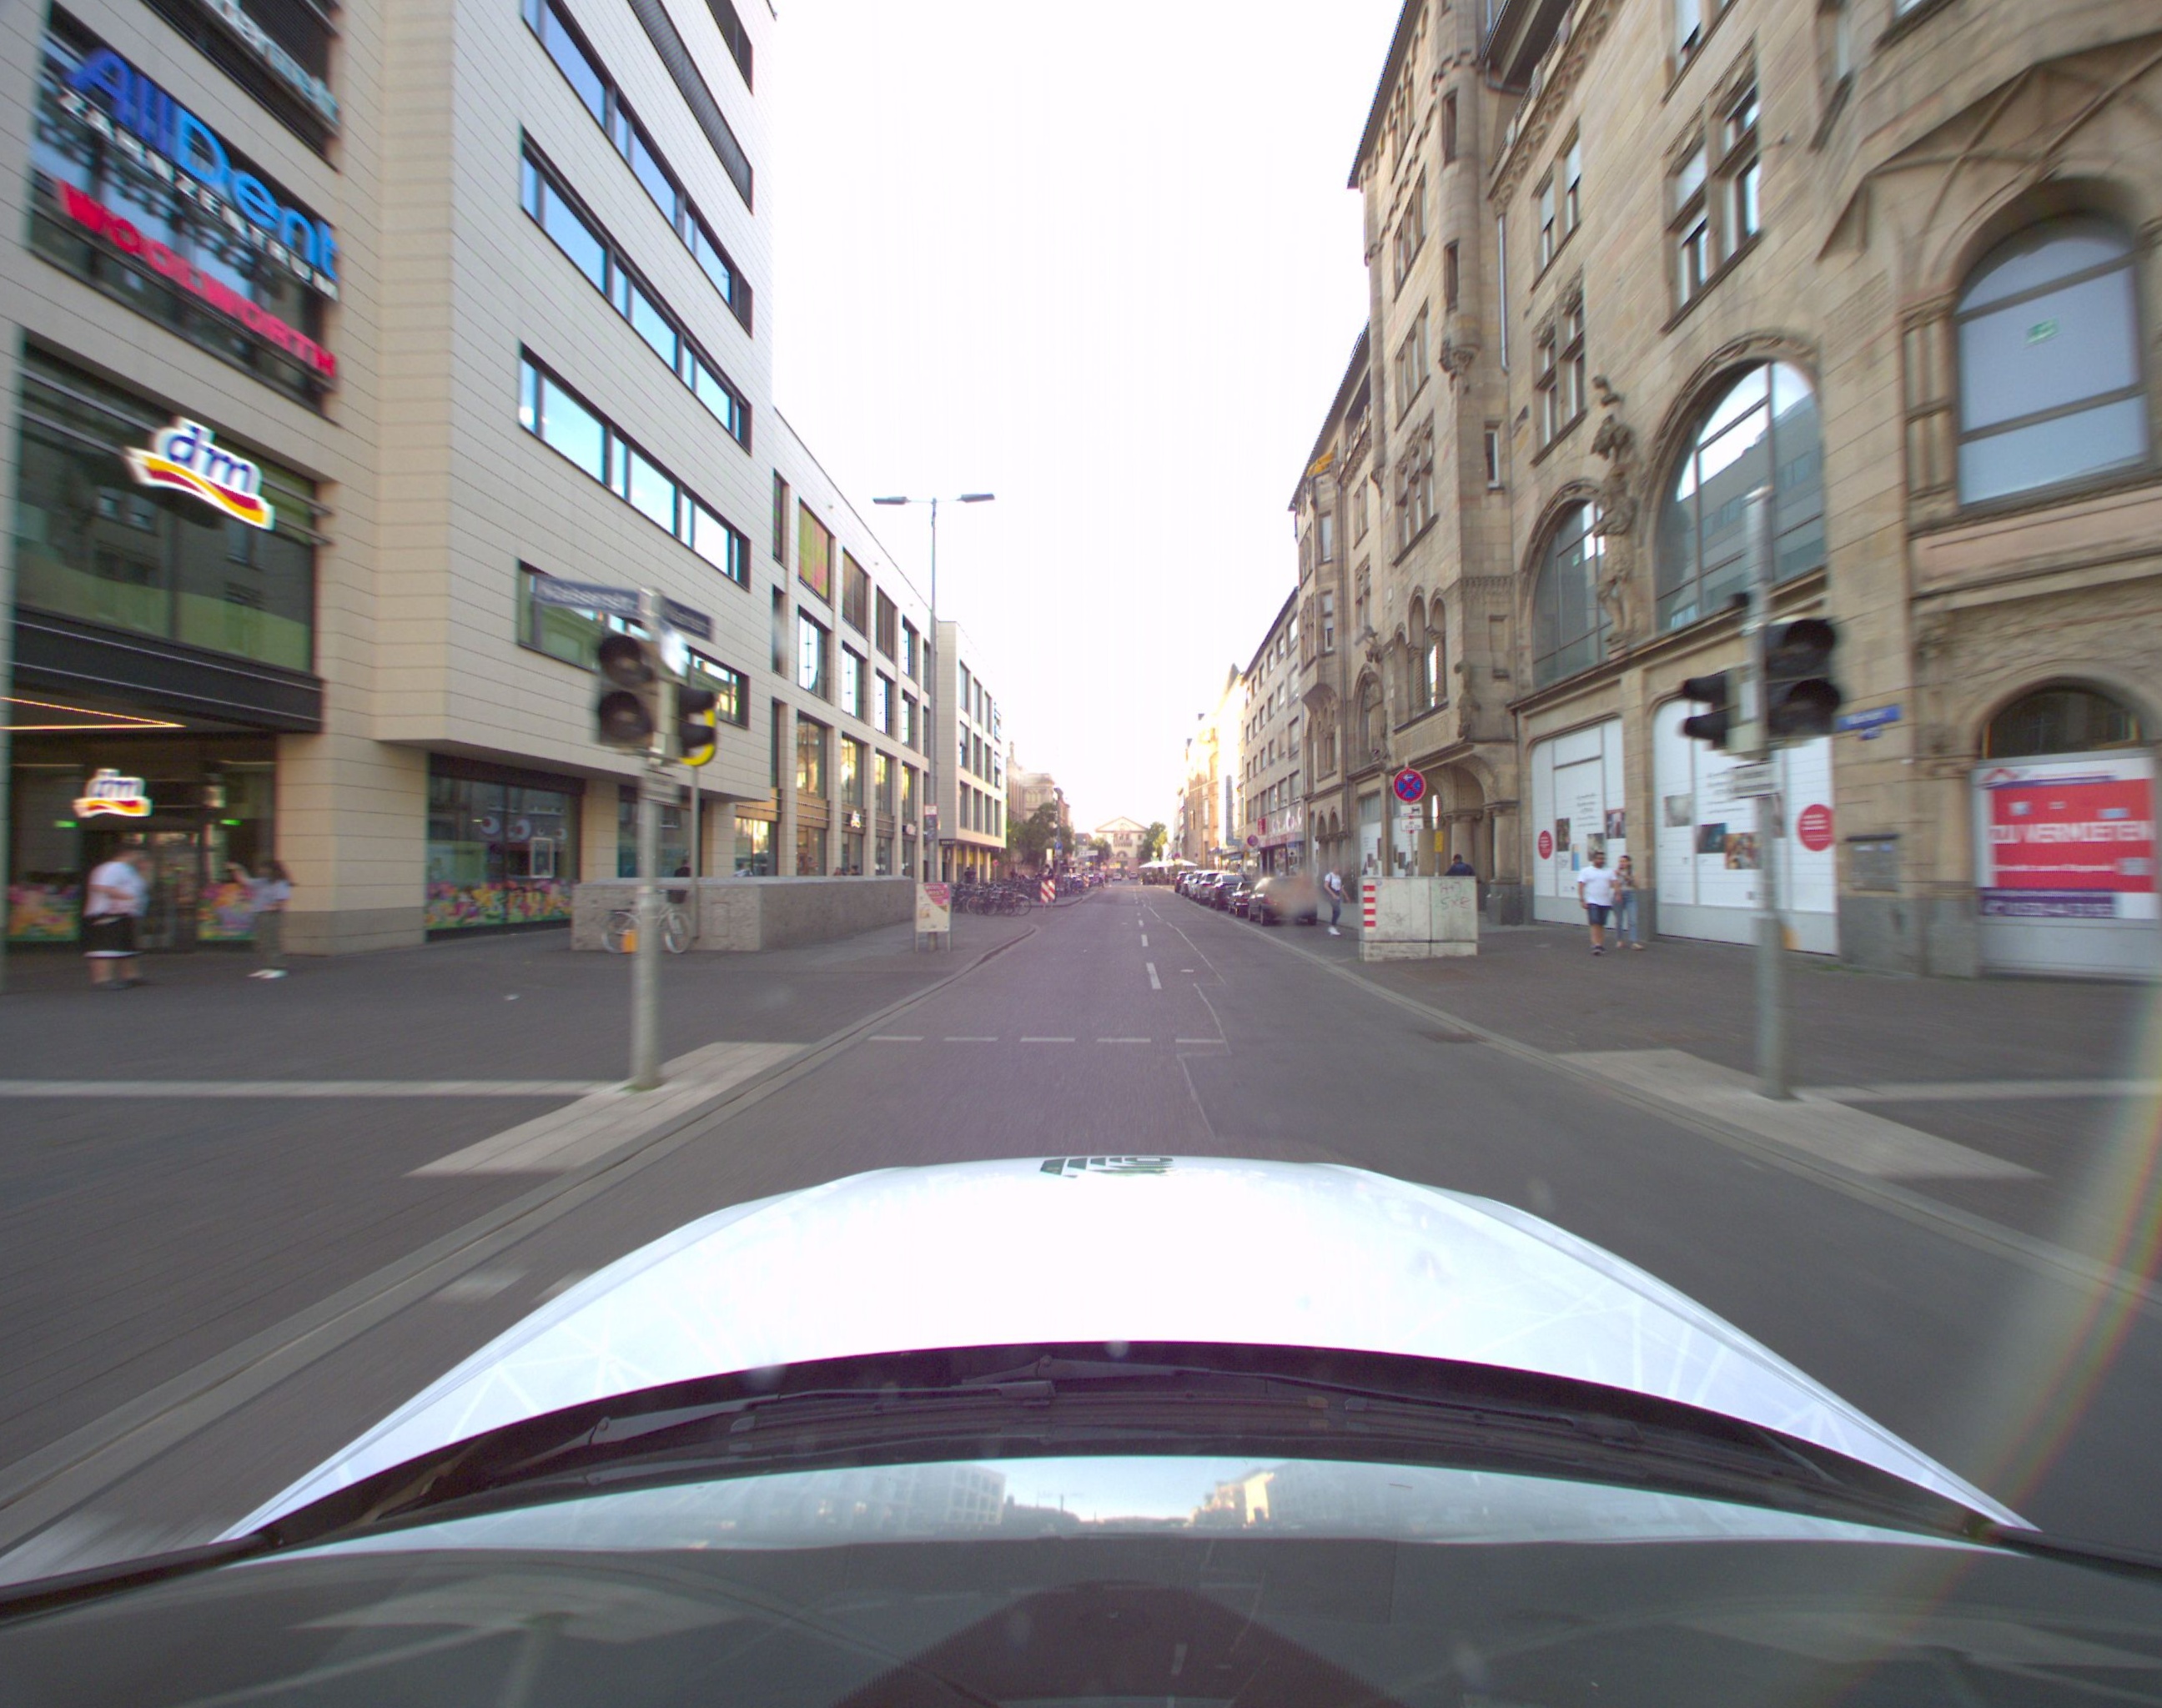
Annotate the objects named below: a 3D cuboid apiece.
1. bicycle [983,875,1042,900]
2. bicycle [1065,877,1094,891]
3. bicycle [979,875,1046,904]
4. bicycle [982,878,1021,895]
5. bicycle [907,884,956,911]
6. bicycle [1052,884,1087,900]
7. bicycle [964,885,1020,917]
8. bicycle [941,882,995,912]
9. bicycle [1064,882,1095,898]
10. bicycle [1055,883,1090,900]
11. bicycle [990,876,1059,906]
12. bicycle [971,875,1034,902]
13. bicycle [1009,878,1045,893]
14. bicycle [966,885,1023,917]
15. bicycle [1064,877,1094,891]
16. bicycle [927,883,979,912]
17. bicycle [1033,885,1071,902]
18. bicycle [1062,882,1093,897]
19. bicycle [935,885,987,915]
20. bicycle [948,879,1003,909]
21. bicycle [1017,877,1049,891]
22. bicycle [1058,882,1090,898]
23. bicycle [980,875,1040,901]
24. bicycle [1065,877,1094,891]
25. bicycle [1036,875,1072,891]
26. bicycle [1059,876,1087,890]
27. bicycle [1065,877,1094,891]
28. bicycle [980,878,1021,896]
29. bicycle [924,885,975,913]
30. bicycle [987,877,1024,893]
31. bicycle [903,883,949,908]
[{"bbox_3d":[-3.473,1.686,41.354,2.899,1.255,0.798,0,-1,-23],"label":"bicycle"},{"bbox_3d":[-0.104,2.216,59.982,2.138,1.029,0.641,0,-1,5],"label":"bicycle"},{"bbox_3d":[-3.075,1.595,36.692,2.899,1.255,0.798,0,-1,-23],"label":"bicycle"},{"bbox_3d":[-4.525,1.846,46.621,2.138,0.953,0.641,0,-1,5],"label":"bicycle"},{"bbox_3d":[-6.402,1.877,34.984,1.977,1.122,0.553,2,-2,-26],"label":"bicycle"},{"bbox_3d":[-0.712,2.361,50.747,2.138,0.953,0.641,0,-1,5],"label":"bicycle"},{"bbox_3d":[-3.270,1.730,30.080,1.977,1.122,0.553,2,-2,-26],"label":"bicycle"},{"bbox_3d":[-4.384,1.661,31.660,1.977,1.122,0.553,2,-2,-26],"label":"bicycle"},{"bbox_3d":[-0.104,2.499,56.661,2.138,1.029,0.641,0,-1,5],"label":"bicycle"},{"bbox_3d":[-0.554,2.384,51.675,2.138,1.029,0.641,0,-1,5],"label":"bicycle"},{"bbox_3d":[-2.448,1.584,35.576,2.899,1.255,0.798,0,-1,-23],"label":"bicycle"},{"bbox_3d":[-3.760,1.629,38.916,2.899,1.255,0.798,0,-1,-23],"label":"bicycle"},{"bbox_3d":[-3.375,1.964,51.064,2.138,0.953,0.641,0,-1,5],"label":"bicycle"},{"bbox_3d":[-3.114,1.695,29.395,1.977,1.122,0.553,2,-2,-26],"label":"bicycle"},{"bbox_3d":[-0.139,2.199,59.213,2.138,1.029,0.641,0,-1,5],"label":"bicycle"},{"bbox_3d":[-5.165,1.764,32.930,1.977,1.122,0.553,2,-2,-26],"label":"bicycle"},{"bbox_3d":[-1.681,2.333,47.746,2.138,0.953,0.641,0,-1,5],"label":"bicycle"},{"bbox_3d":[-0.227,2.512,57.398,2.138,1.029,0.641,0,-1,5],"label":"bicycle"},{"bbox_3d":[-4.749,1.818,32.289,1.977,1.122,0.553,2,-2,-26],"label":"bicycle"},{"bbox_3d":[-4.016,1.535,31.004,1.977,1.122,0.553,2,-2,-26],"label":"bicycle"},{"bbox_3d":[-3.356,2.078,56.800,2.138,0.953,0.641,0,-1,5],"label":"bicycle"},{"bbox_3d":[-0.495,2.475,55.888,2.138,1.029,0.641,0,-1,5],"label":"bicycle"},{"bbox_3d":[-3.519,1.665,40.380,2.899,1.255,0.798,0,-1,-23],"label":"bicycle"},{"bbox_3d":[-0.100,2.238,61.019,2.138,1.029,0.641,0,-1,5],"label":"bicycle"},{"bbox_3d":[-1.635,1.746,49.288,2.138,0.953,0.641,0,-1,5],"label":"bicycle"},{"bbox_3d":[-0.623,2.310,64.953,2.138,1.029,0.641,0,-1,5],"label":"bicycle"},{"bbox_3d":[-0.113,2.253,61.747,2.138,1.029,0.641,0,-1,5],"label":"bicycle"},{"bbox_3d":[-4.424,1.810,44.810,2.138,0.953,0.641,0,-1,5],"label":"bicycle"},{"bbox_3d":[-5.465,1.873,33.890,1.977,1.122,0.553,2,-2,-26],"label":"bicycle"},{"bbox_3d":[-4.542,1.894,49.227,2.138,0.953,0.641,0,-1,5],"label":"bicycle"},{"bbox_3d":[-7.085,1.910,37.192,1.977,1.122,0.553,2,-2,-26],"label":"bicycle"}]
